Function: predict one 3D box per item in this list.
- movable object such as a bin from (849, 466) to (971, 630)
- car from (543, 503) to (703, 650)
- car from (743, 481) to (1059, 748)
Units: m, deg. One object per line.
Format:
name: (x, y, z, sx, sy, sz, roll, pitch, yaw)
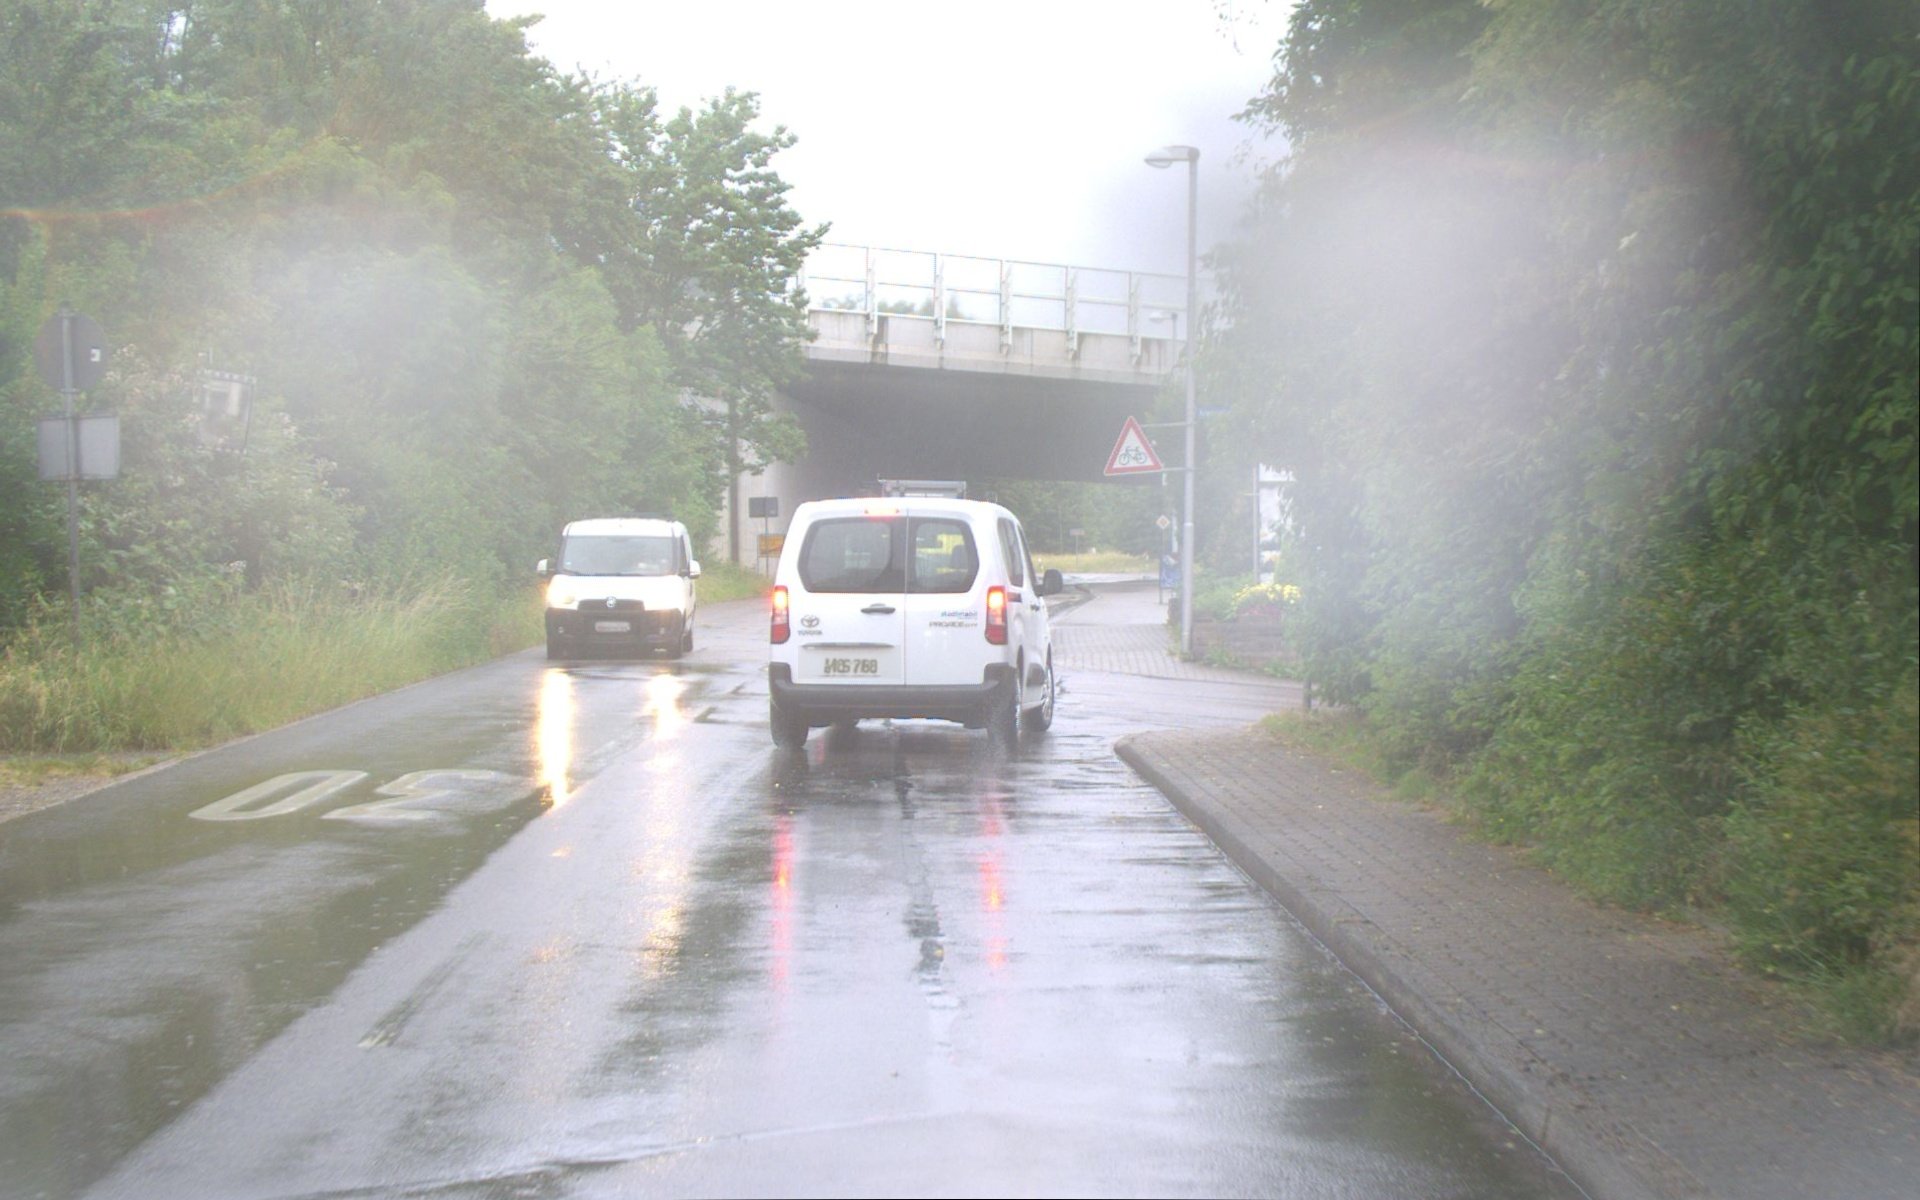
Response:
movable object such as a bin: (-0.773, -0.853, 55.612, 1.761, 2.539, 4.239, 0, 1, 2)
car: (-4.351, -0.333, 44.921, 1.823, 1.825, 4.308, 0, 1, -2)
car: (-0.357, 0.038, 25.830, 1.897, 1.800, 4.000, -1, 2, 5)
